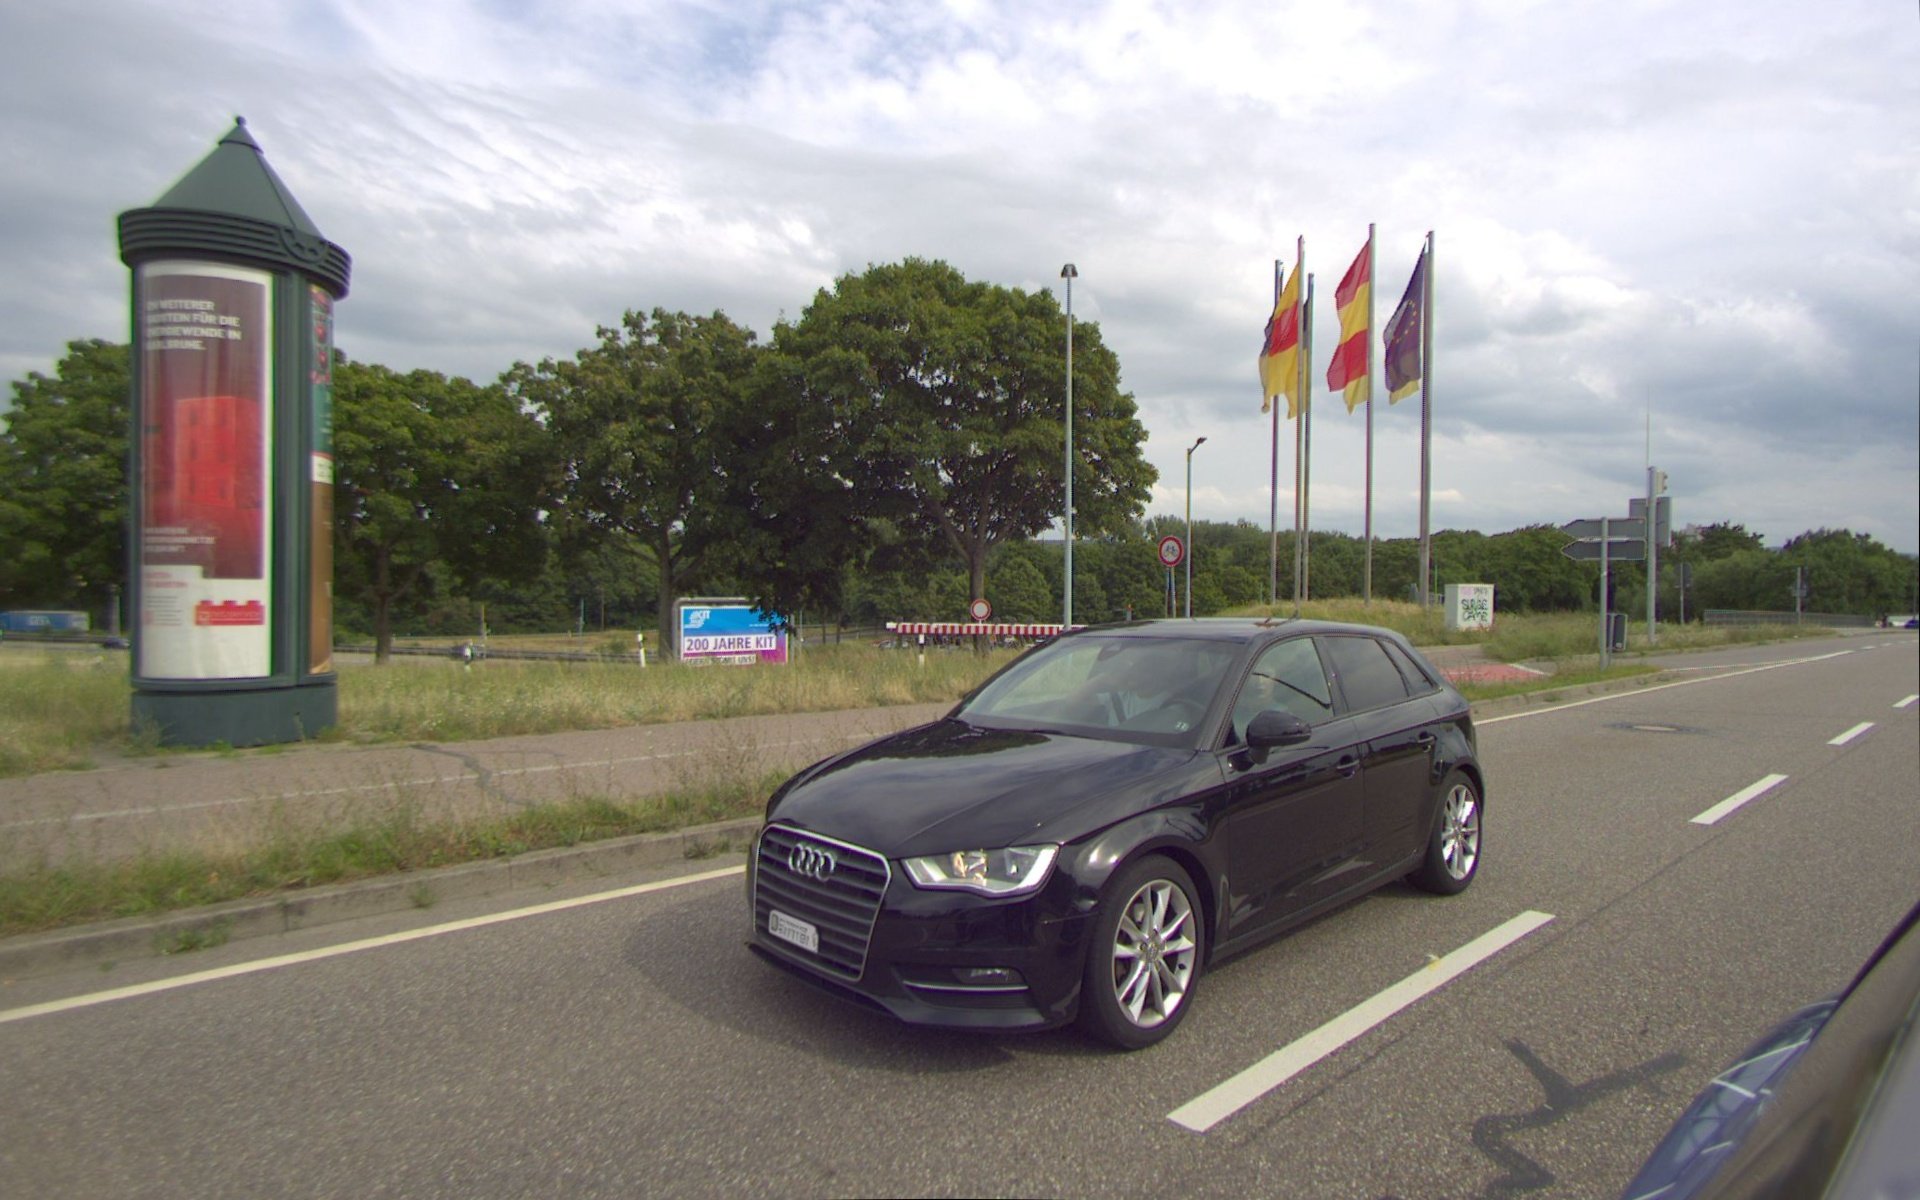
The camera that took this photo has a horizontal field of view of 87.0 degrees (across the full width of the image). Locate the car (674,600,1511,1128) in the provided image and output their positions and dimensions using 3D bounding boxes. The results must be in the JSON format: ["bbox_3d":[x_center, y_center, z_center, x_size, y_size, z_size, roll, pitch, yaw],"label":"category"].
[{"bbox_3d":[0.927,0.720,4.745,4.045,1.413,1.732,1,-1,-43],"label":"car"}]
